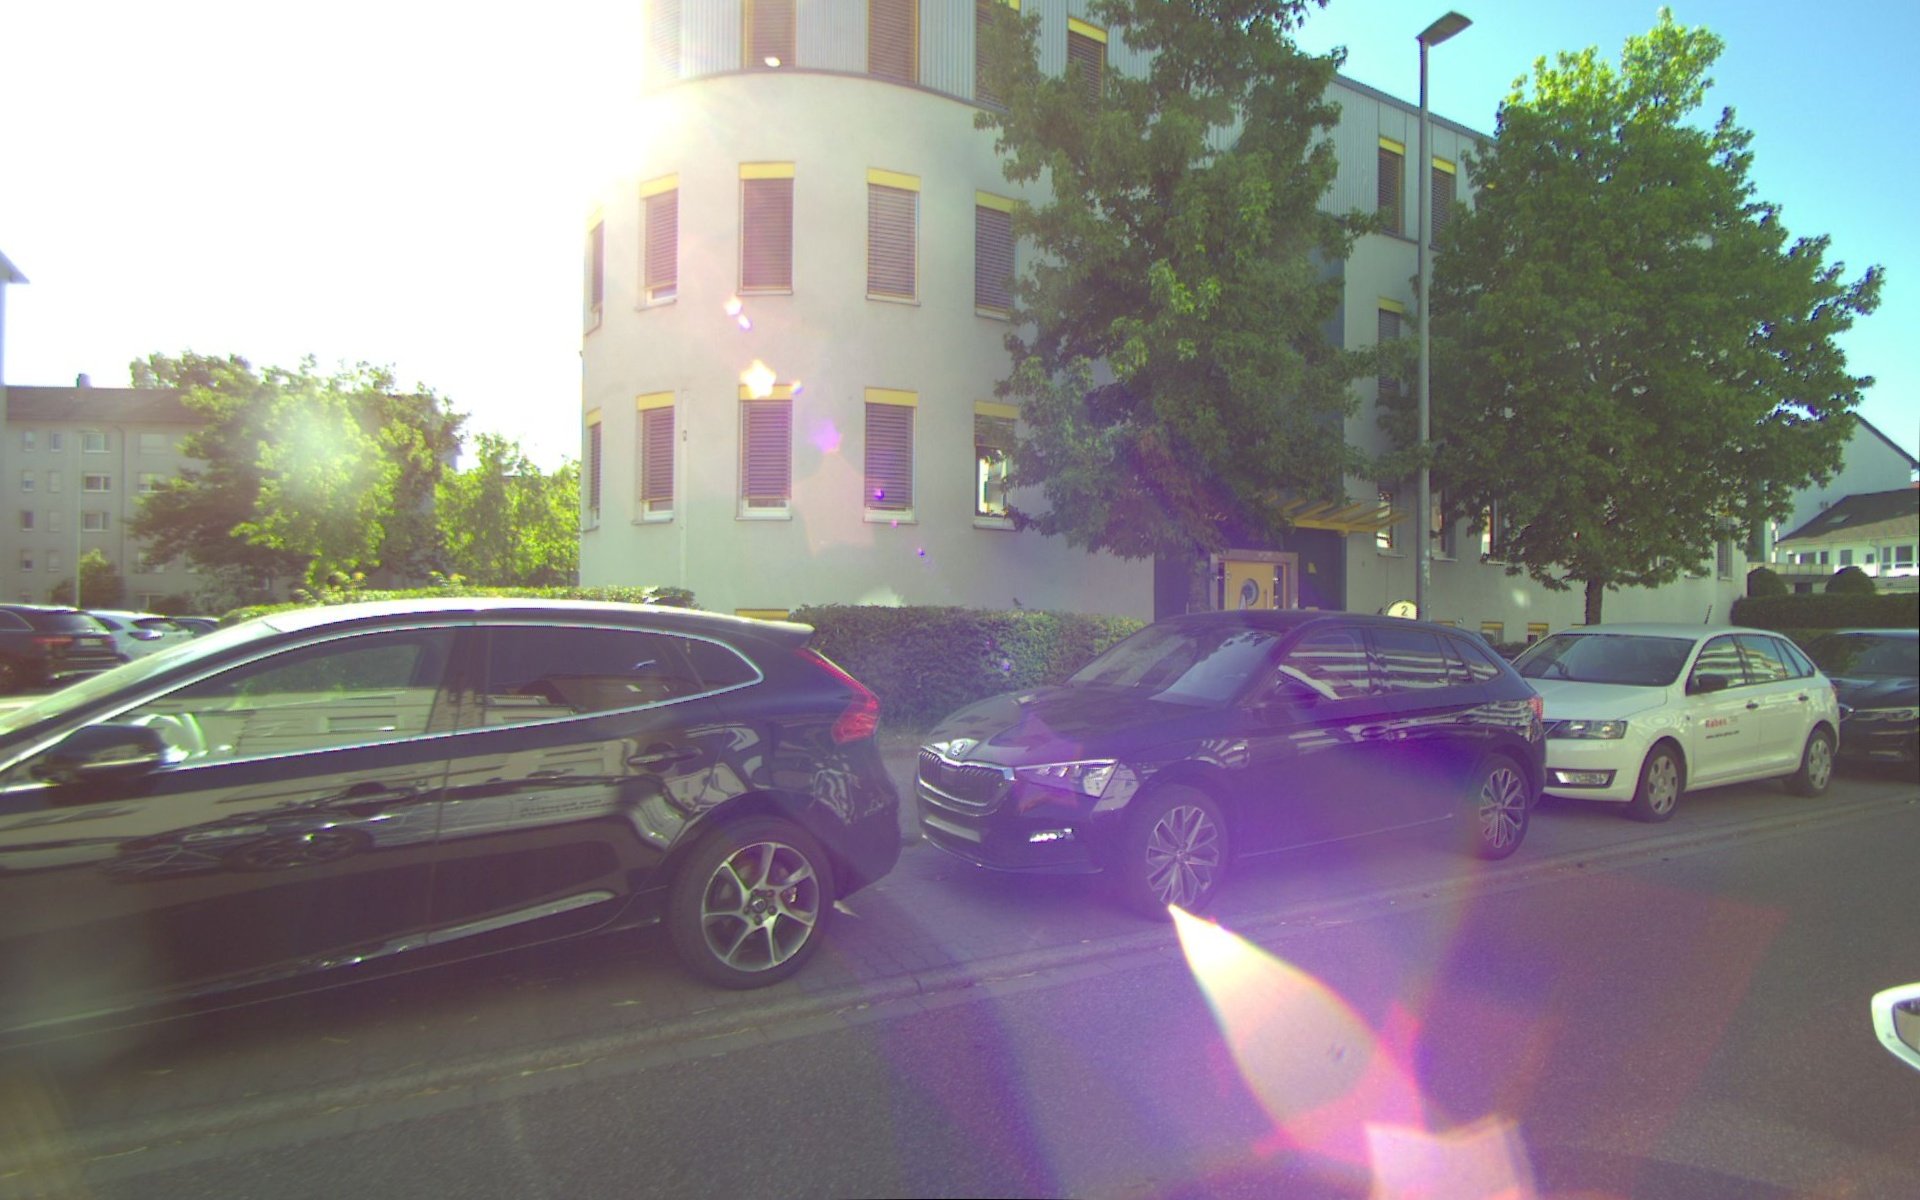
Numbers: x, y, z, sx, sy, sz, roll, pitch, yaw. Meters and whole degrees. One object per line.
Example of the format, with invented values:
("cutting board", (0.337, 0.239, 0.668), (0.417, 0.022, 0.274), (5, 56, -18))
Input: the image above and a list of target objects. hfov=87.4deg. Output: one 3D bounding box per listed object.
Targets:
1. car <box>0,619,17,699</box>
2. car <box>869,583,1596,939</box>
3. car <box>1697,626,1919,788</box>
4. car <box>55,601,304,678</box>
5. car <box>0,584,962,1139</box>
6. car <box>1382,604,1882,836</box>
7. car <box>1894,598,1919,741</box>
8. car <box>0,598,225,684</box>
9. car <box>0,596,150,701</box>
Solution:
("car", (-17.933, 0.930, 15.473), (4.796, 1.291, 1.727), (0, -2, -8))
("car", (1.806, 0.761, 6.202), (4.331, 1.498, 1.898), (2, -2, -32))
("car", (10.203, 1.035, 10.960), (4.554, 1.458, 1.725), (1, -1, -29))
("car", (-18.384, 0.930, 23.863), (4.212, 1.722, 1.998), (0, -2, -7))
("car", (-2.229, 0.698, 3.780), (4.176, 1.429, 1.780), (2, -1, -32))
("car", (5.941, 0.888, 8.726), (4.573, 1.550, 1.898), (2, -2, -32))
("car", (14.587, 0.931, 13.709), (4.293, 1.863, 1.678), (1, -1, -32))
("car", (-18.570, 0.870, 21.402), (4.212, 1.722, 1.998), (0, -2, -7))
("car", (-17.995, 0.820, 18.553), (4.213, 1.787, 1.998), (3, -2, -6))
